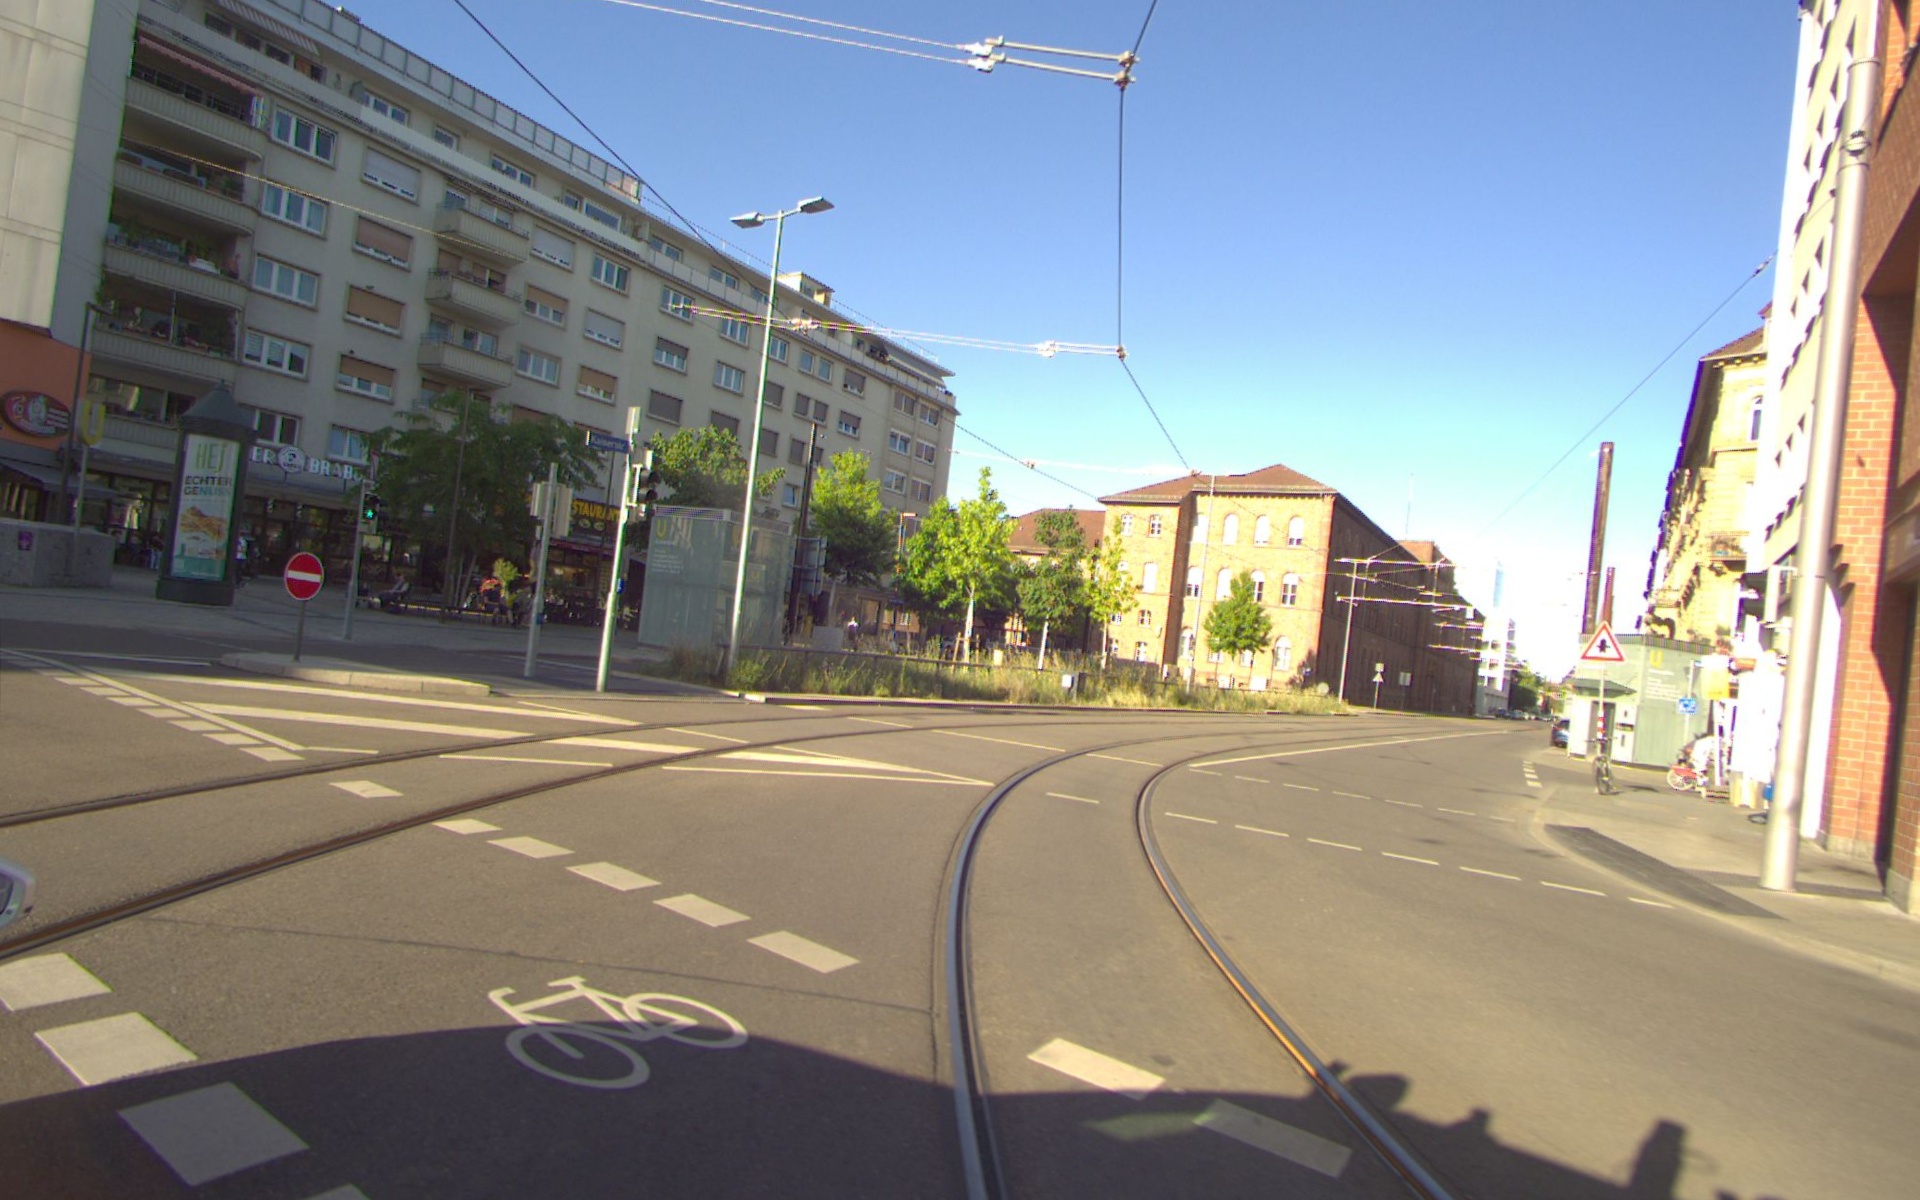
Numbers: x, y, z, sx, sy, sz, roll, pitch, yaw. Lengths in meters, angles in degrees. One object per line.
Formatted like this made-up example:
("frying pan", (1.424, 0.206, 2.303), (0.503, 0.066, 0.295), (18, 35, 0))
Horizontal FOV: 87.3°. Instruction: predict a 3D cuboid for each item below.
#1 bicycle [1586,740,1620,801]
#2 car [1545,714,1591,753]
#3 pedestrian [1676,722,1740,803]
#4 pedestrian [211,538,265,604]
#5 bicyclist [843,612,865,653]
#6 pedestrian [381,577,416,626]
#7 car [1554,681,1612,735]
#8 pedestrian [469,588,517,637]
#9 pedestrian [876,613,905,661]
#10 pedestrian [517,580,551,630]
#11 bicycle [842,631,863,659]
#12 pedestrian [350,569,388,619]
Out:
("bicycle", (11.942, 3.141, 18.680), (0.452, 1.002, 1.862), (3, -4, 33))
("car", (30.363, 6.619, 50.189), (1.701, 1.629, 3.919), (4, -3, 34))
("pedestrian", (16.482, 3.577, 22.175), (0.949, 1.657, 0.689), (6, -1, -26))
("pedestrian", (-22.126, -0.883, 30.840), (0.677, 1.888, 1.042), (6, -1, 36))
("bicyclist", (-5.448, 1.672, 51.746), (0.884, 1.972, 0.786), (7, -1, -5))
("pedestrian", (-17.443, 0.042, 31.245), (0.712, 1.436, 0.924), (7, -1, -24))
("car", (39.622, 6.812, 64.091), (2.238, 3.057, 5.365), (4, -2, 24))
("pedestrian", (-14.873, 0.404, 32.066), (1.089, 1.381, 0.720), (6, -1, 26))
("pedestrian", (-2.616, 1.389, 37.748), (0.624, 1.690, 0.754), (6, -1, 29))
("pedestrian", (-15.828, 0.194, 37.374), (0.705, 1.766, 0.683), (6, -1, 24))
("bicycle", (-5.520, 2.303, 51.764), (0.884, 1.267, 2.213), (7, -2, -5))
("pedestrian", (-18.397, -0.182, 31.334), (0.711, 1.463, 0.925), (7, -1, -20))
